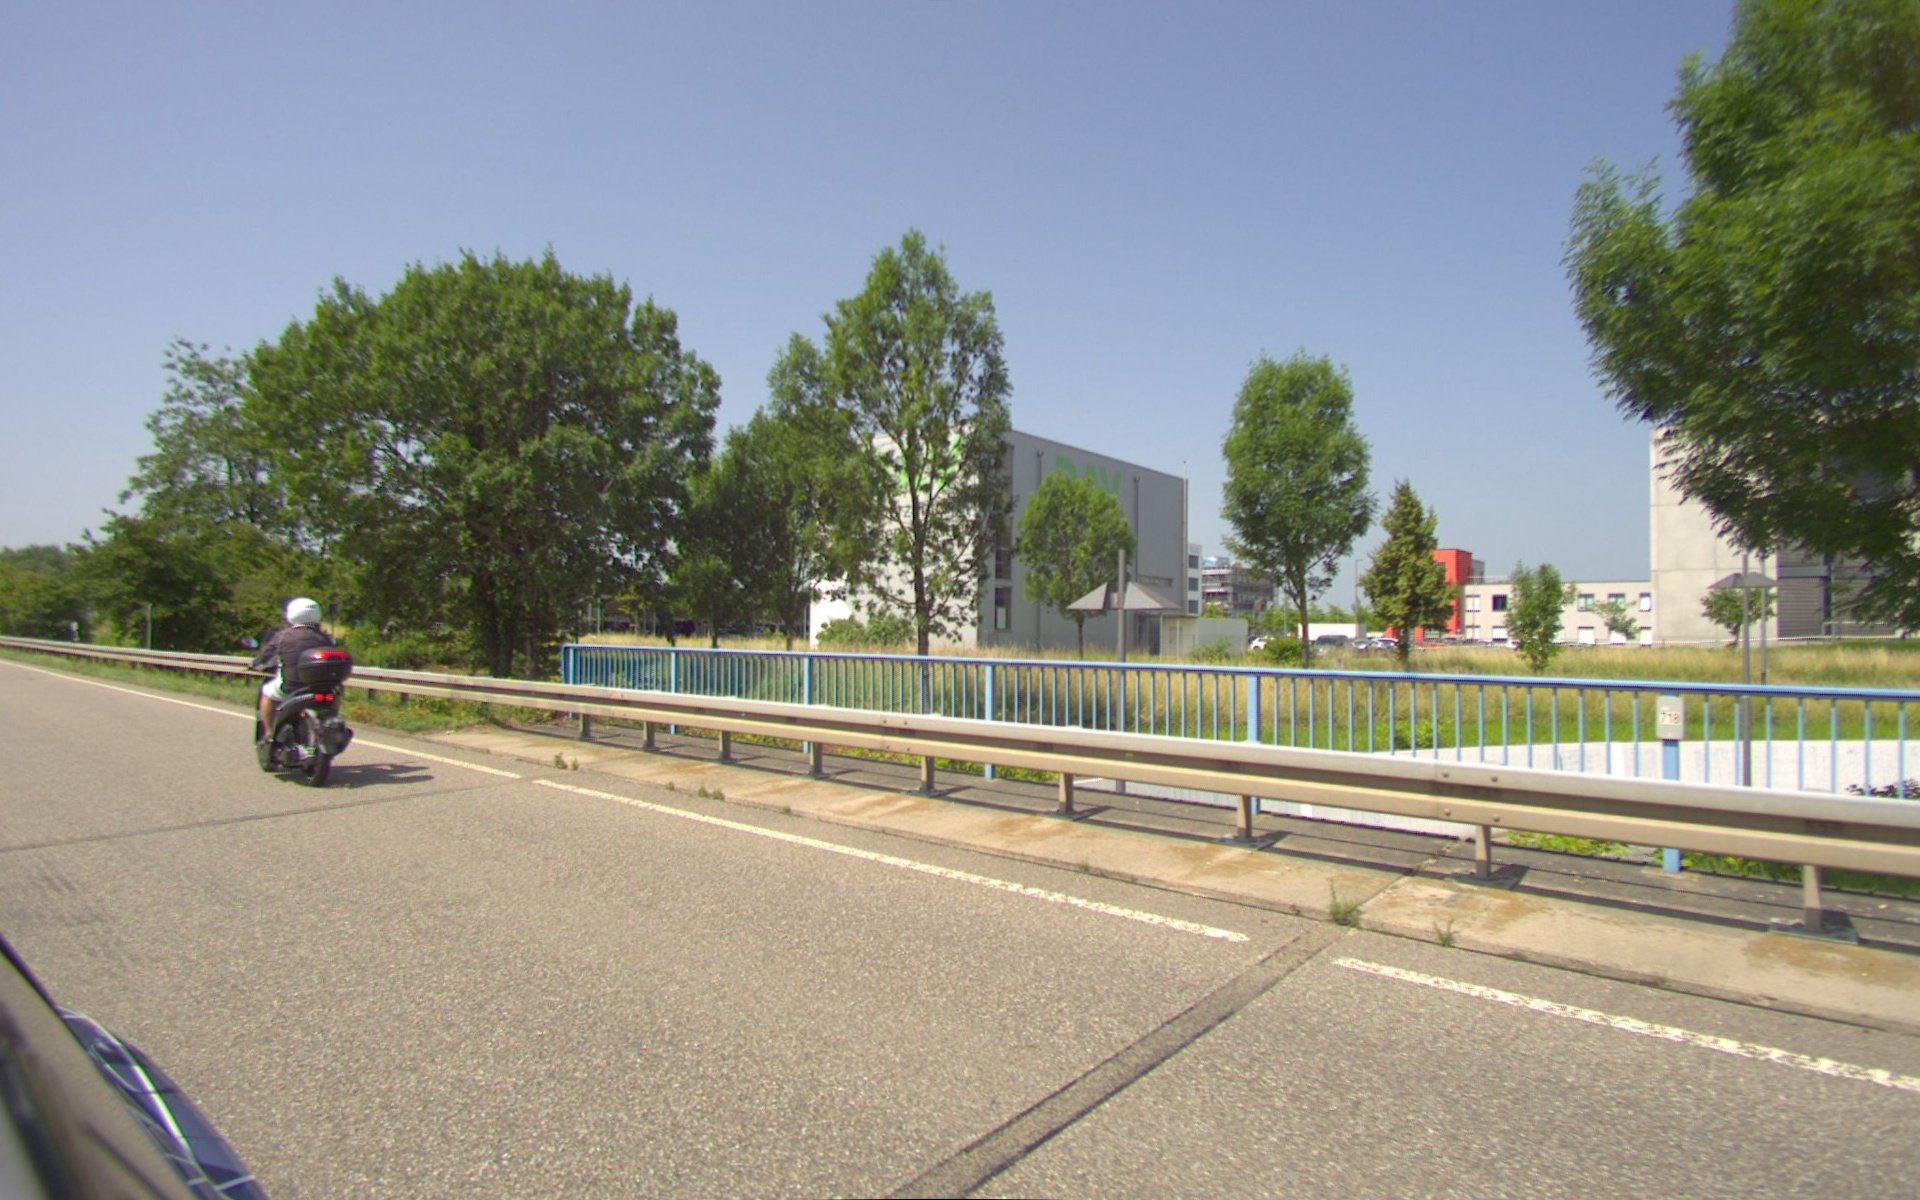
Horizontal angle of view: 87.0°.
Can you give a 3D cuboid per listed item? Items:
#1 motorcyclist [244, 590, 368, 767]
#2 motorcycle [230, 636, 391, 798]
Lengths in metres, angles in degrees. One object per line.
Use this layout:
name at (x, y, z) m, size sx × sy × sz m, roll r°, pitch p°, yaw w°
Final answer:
motorcyclist at (-5.855, 0.667, 9.052) m, size 0.987 × 1.476 × 0.718 m, roll -2°, pitch -2°, yaw 44°
motorcycle at (-5.855, 0.962, 9.054) m, size 2.370 × 1.244 × 0.681 m, roll -1°, pitch -1°, yaw 44°
